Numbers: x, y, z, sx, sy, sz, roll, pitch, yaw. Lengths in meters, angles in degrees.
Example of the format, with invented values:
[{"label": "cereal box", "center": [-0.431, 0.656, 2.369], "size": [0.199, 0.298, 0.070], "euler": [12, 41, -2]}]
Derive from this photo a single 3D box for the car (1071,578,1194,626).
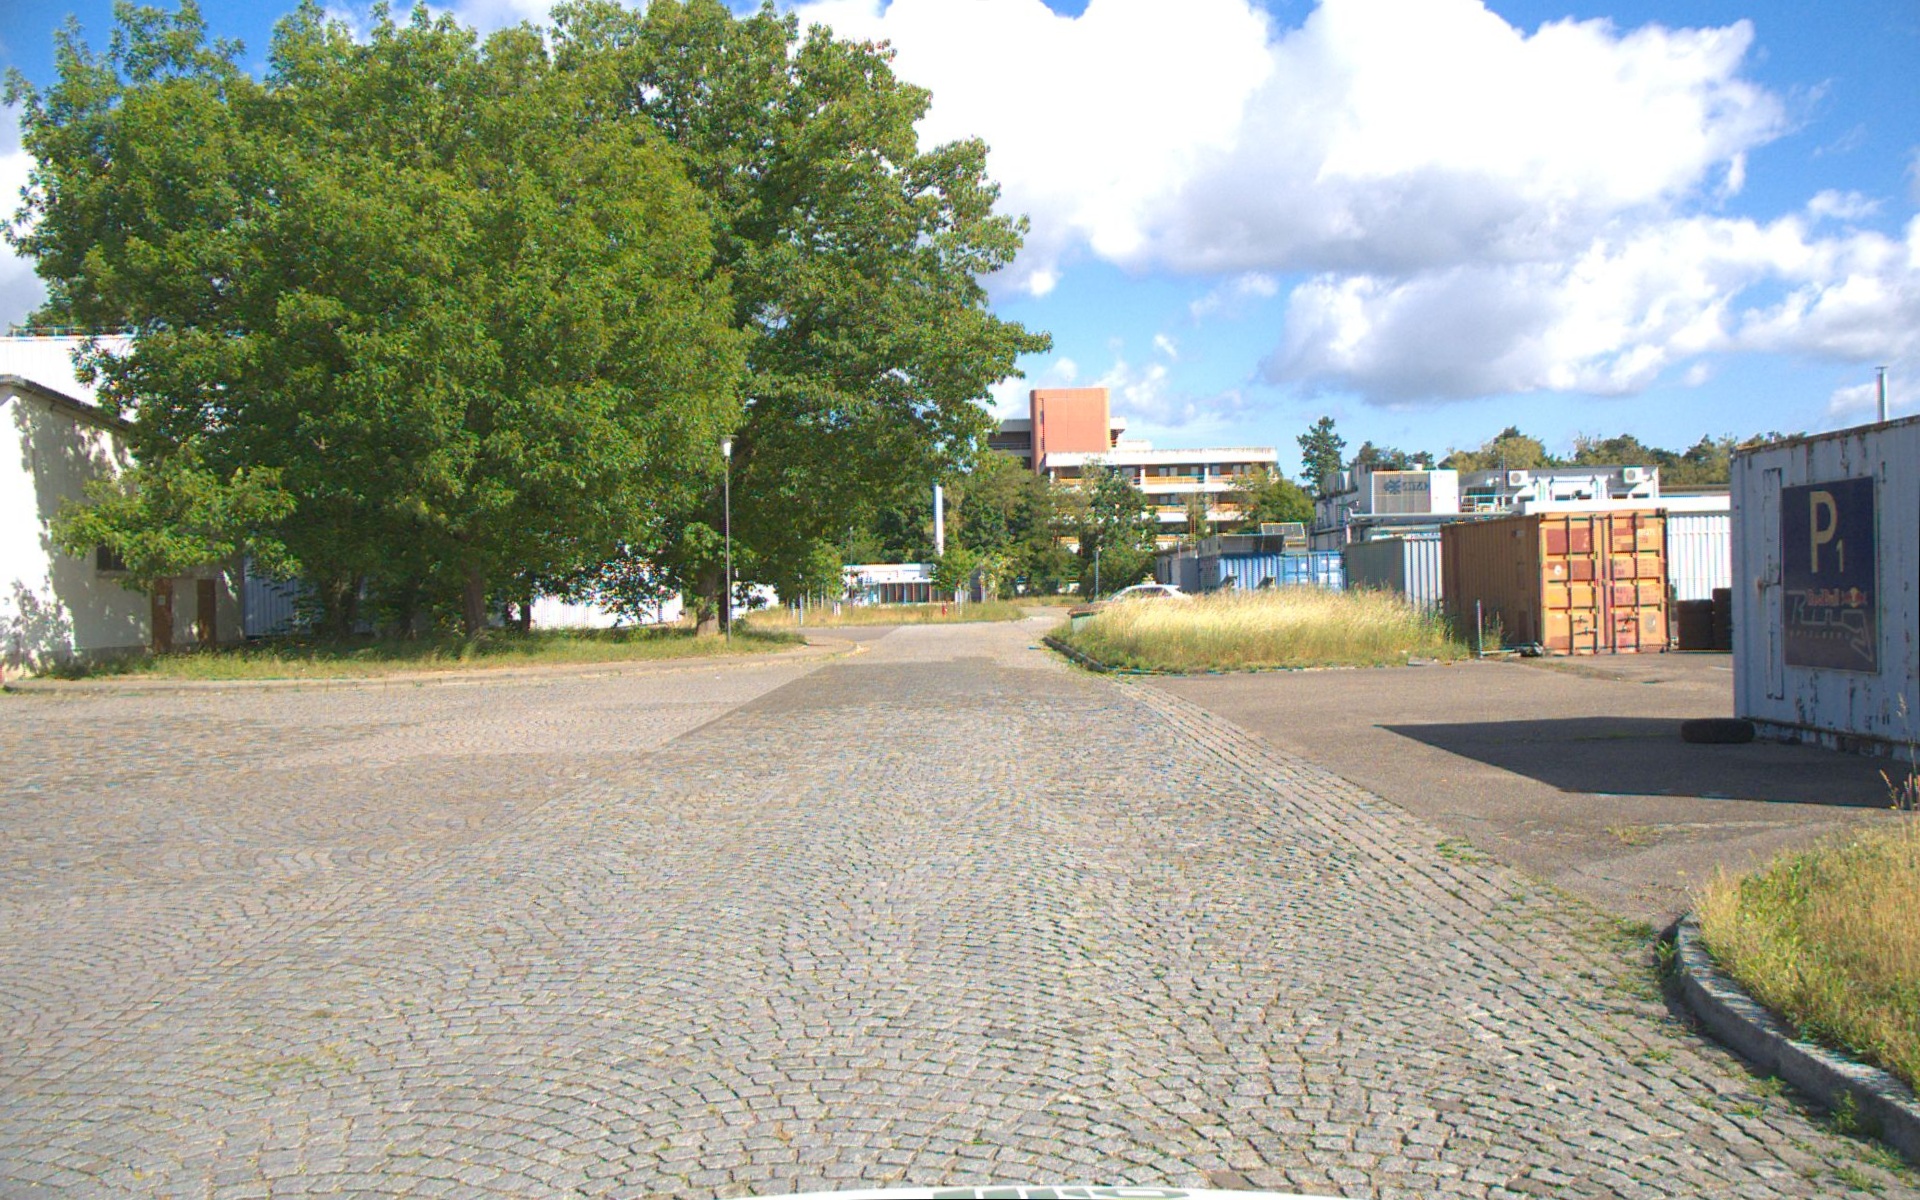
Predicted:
[{"label": "car", "center": [6.592, 0.081, 63.500], "size": [4.413, 1.676, 1.999], "euler": [-2, 0, -2]}]
